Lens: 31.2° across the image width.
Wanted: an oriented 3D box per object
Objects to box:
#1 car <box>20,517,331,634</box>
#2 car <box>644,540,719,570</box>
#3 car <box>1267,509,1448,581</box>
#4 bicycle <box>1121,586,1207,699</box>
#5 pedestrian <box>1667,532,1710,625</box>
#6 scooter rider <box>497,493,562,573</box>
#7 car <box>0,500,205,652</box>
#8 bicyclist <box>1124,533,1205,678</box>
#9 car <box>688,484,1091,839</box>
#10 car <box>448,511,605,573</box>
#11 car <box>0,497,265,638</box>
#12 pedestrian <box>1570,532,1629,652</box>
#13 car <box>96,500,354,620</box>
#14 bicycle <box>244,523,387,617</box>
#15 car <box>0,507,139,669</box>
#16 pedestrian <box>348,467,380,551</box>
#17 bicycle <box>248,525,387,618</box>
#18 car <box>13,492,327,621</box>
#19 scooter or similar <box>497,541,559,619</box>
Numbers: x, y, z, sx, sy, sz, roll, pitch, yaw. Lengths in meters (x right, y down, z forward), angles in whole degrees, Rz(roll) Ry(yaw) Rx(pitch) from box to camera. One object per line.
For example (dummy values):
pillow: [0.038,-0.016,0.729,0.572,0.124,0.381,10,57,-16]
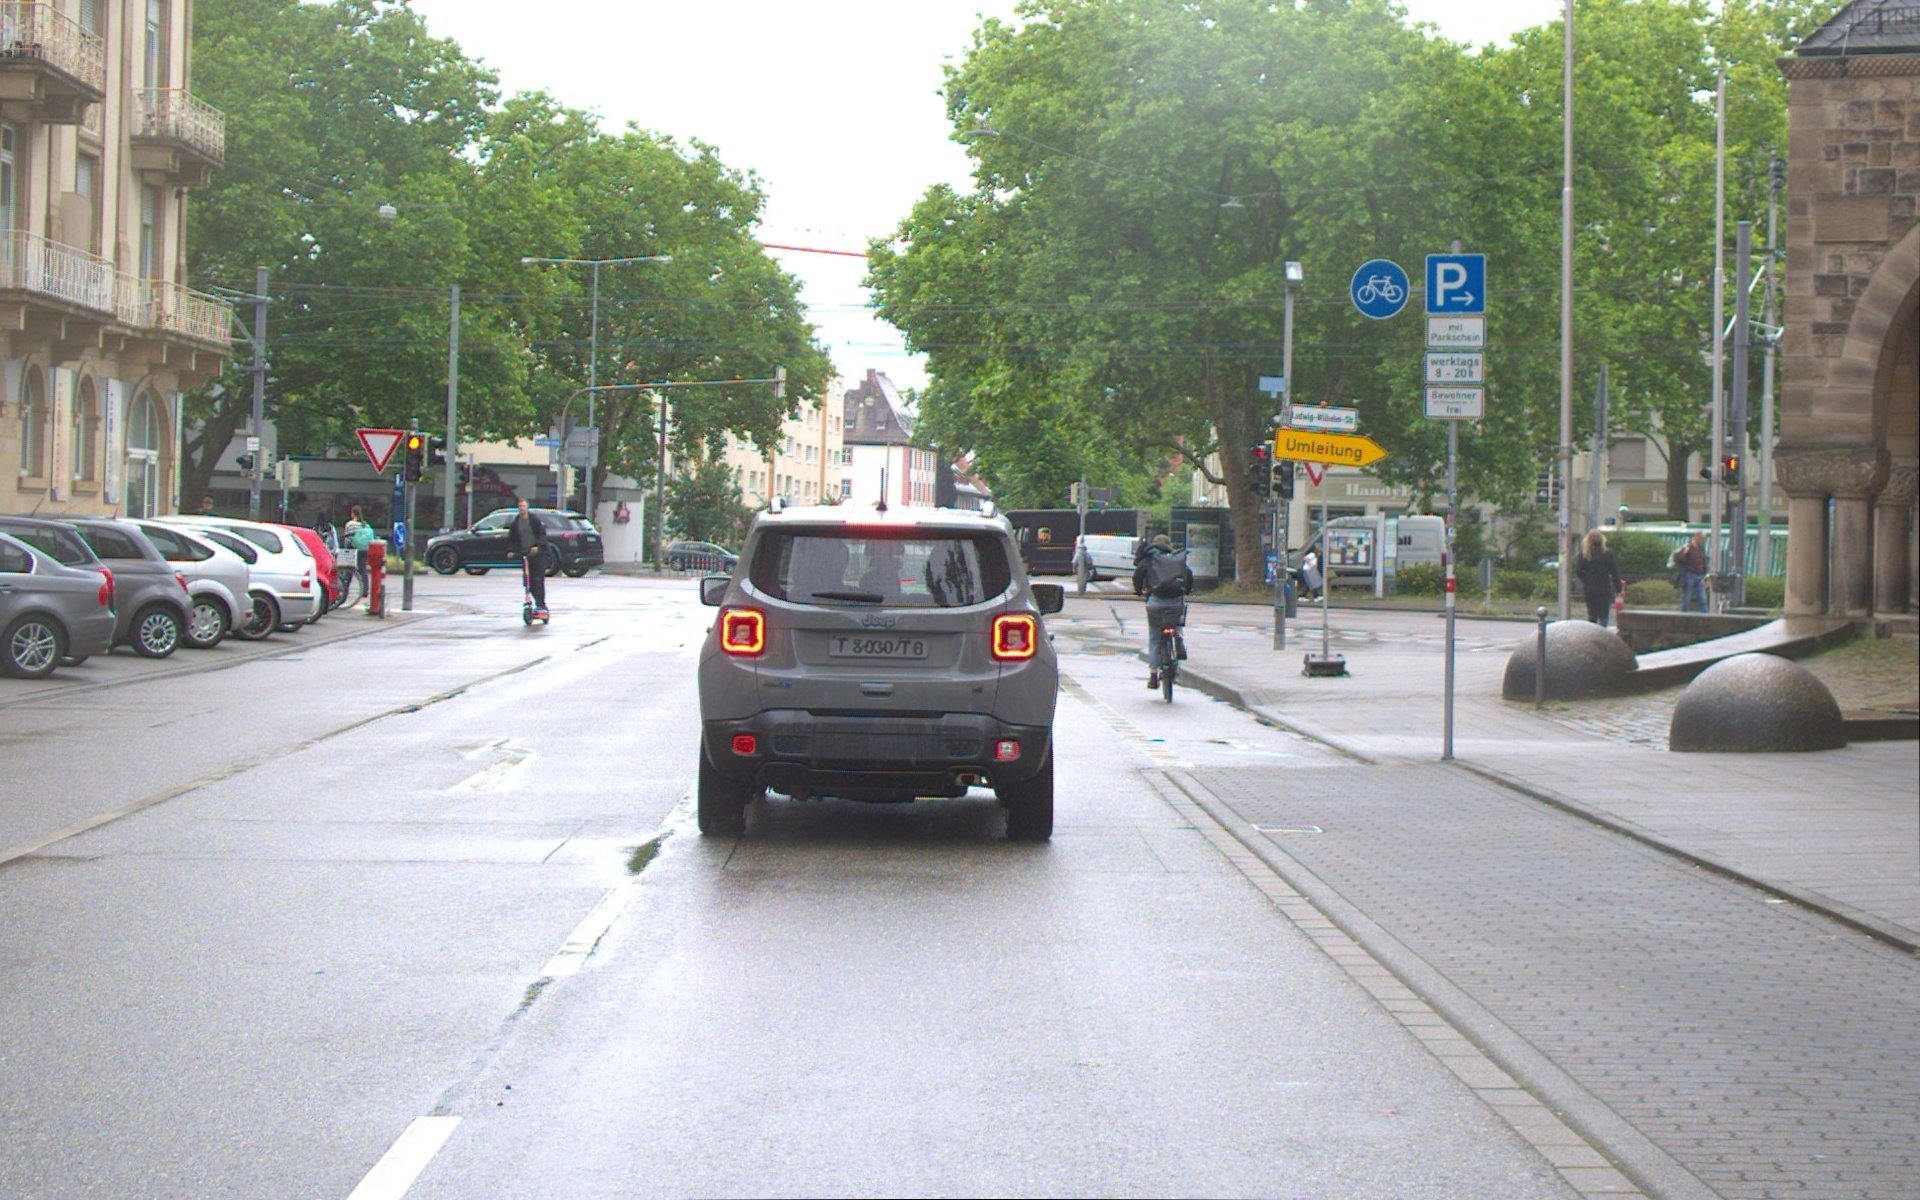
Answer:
car: [-10.028,-0.311,43.992,3.413,1.311,1.779,3,0,-34]
car: [-14.126,-2.280,174.350,3.471,1.495,1.541,1,1,10]
car: [13.355,-1.869,115.880,5.904,2.326,2.059,1,1,3]
bicycle: [2.006,0.404,34.005,0.705,1.050,1.813,1,1,-1]
pedestrian: [13.509,-0.403,63.741,0.682,1.705,0.692,1,1,18]
scooter rider: [-6.827,-1.062,54.551,0.880,1.216,0.984,2,-1,-1]
car: [-10.391,-0.302,37.689,3.653,1.553,1.809,3,0,-37]
bicyclist: [2.014,0.044,33.996,0.705,1.399,1.171,1,1,-1]
car: [-0.417,0.263,18.698,1.898,1.665,4.506,1,1,-2]
car: [-11.642,-1.554,92.306,3.883,1.606,1.540,1,1,20]
car: [-10.317,-0.400,40.918,3.496,1.513,1.885,3,0,-34]
pedestrian: [9.182,-0.122,49.403,0.690,1.705,0.684,1,1,-1]
car: [-10.649,-0.575,49.848,3.245,1.553,1.535,3,0,-34]
bicycle: [-10.015,-0.459,53.456,2.109,1.439,0.539,0,1,-21]
car: [-9.883,-0.177,32.054,3.843,1.474,1.885,3,0,-42]
pedestrian: [-11.336,-1.729,65.430,0.467,1.580,0.752,1,1,-2]
bicycle: [-10.174,-0.447,54.447,2.092,1.439,0.491,0,1,-21]
car: [-10.678,-0.583,46.559,3.730,1.553,1.672,3,0,-34]
scooter or similar: [-6.844,-0.318,54.546,0.851,1.208,0.986,1,-1,-1]
